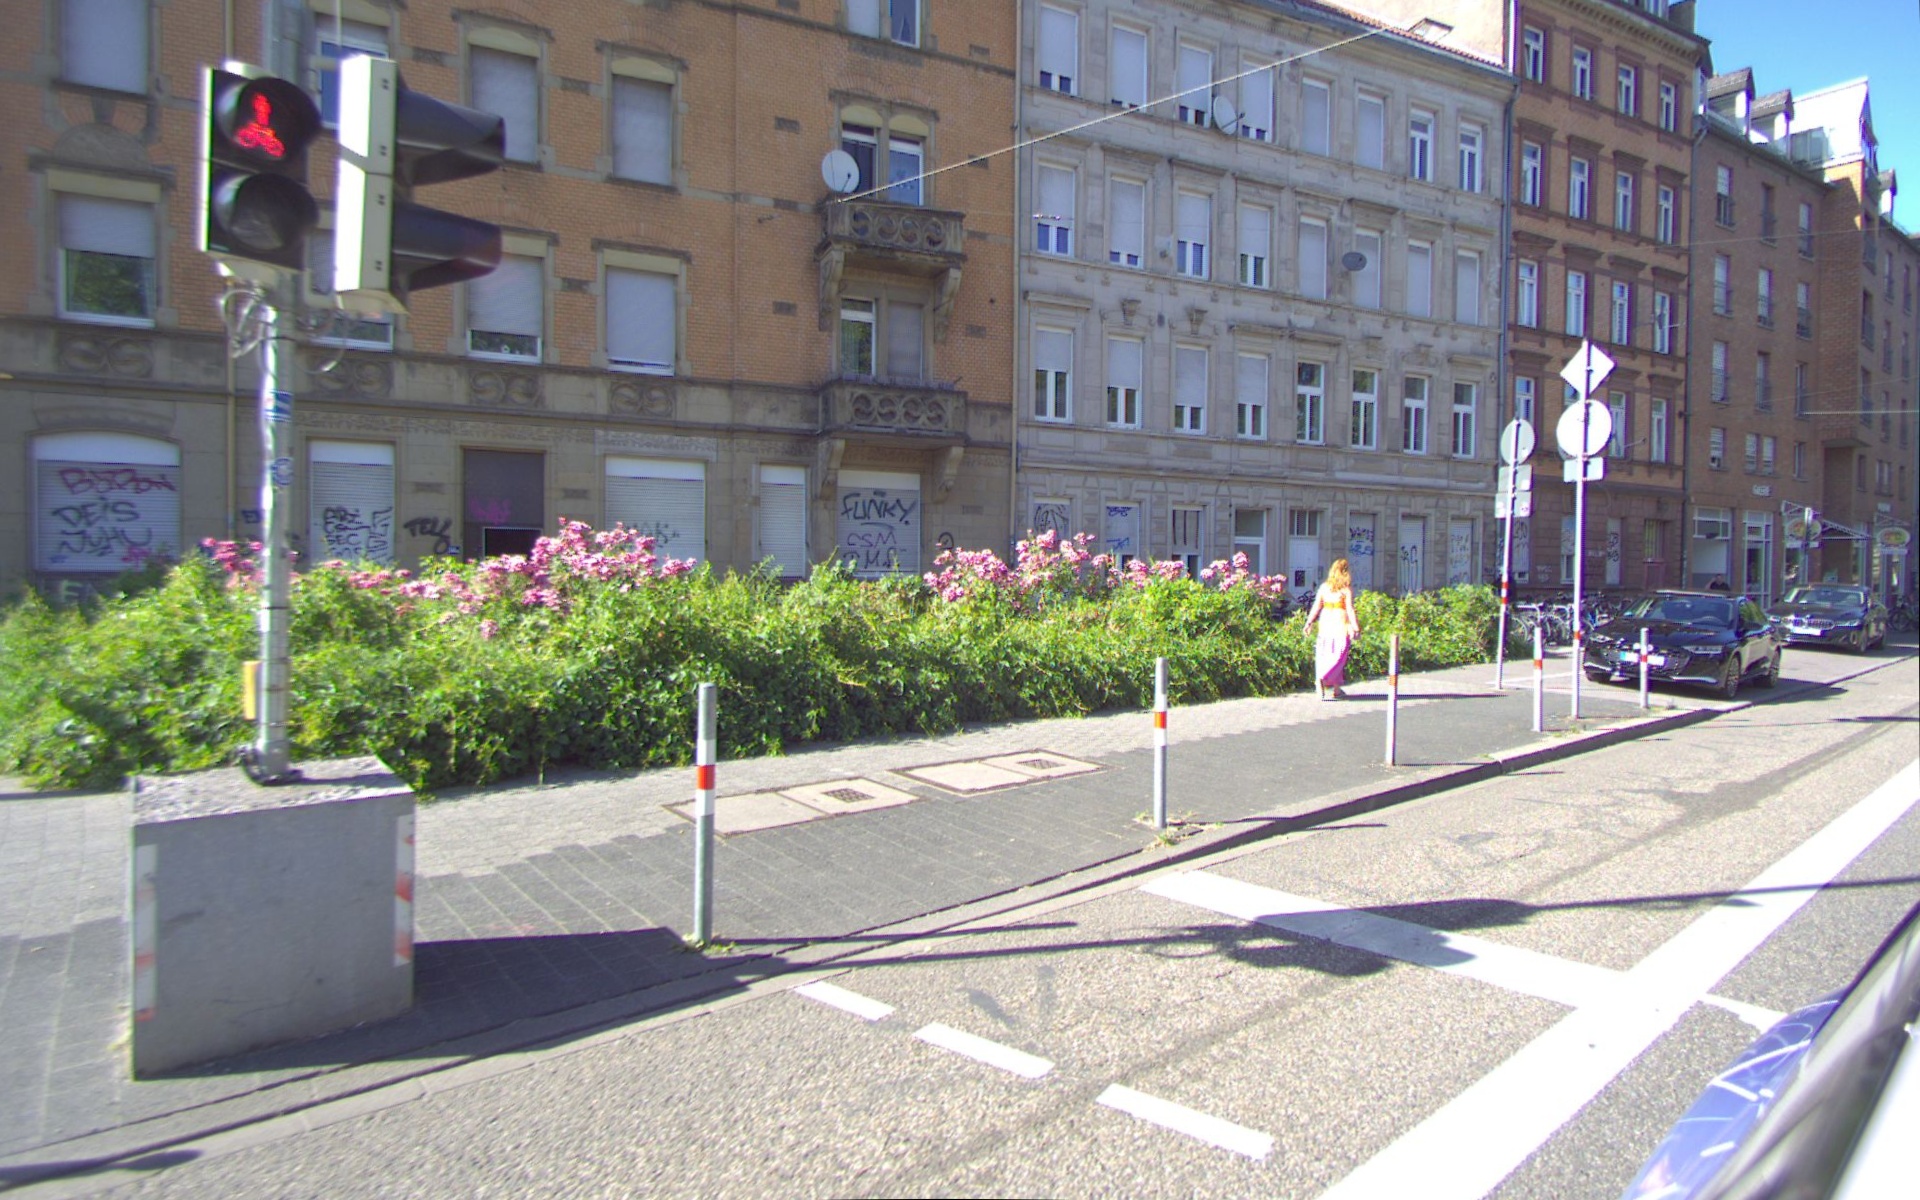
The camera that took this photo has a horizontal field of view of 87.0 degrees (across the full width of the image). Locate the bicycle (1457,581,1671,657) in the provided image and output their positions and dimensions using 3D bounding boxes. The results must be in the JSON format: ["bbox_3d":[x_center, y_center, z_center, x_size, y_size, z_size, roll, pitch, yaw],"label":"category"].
[{"bbox_3d":[13.416,0.301,22.239,6.706,1.433,1.968,-1,2,-40],"label":"bicycle"}]

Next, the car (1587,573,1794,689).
[{"bbox_3d":[10.987,0.364,15.122,3.931,1.502,1.682,-1,2,-42],"label":"car"}]

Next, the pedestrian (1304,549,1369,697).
[{"bbox_3d":[4.494,0.256,12.064,0.548,1.697,0.679,1,1,37],"label":"pedestrian"}]

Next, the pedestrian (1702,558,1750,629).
[{"bbox_3d":[22.723,-0.203,30.004,1.345,2.038,0.844,-1,1,-40],"label":"pedestrian"}]

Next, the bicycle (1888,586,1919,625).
[{"bbox_3d":[29.817,0.187,30.951,0.828,1.151,1.924,0,3,-28],"label":"bicycle"}]

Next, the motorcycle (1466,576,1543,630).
[{"bbox_3d":[13.891,0.058,25.833,1.622,1.332,0.708,1,1,37],"label":"motorcycle"}]

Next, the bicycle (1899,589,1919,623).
[{"bbox_3d":[31.055,0.208,32.054,0.642,1.072,1.806,0,2,-31],"label":"bicycle"}]

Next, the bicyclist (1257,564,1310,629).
[{"bbox_3d":[6.630,-0.083,20.723,0.847,1.302,0.693,-1,1,-41],"label":"bicyclist"}]

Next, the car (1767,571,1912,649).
[{"bbox_3d":[20.820,0.178,23.902,4.393,1.543,1.766,-1,6,-39],"label":"car"}]

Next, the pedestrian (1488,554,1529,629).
[{"bbox_3d":[13.964,-0.228,25.776,0.817,1.885,0.695,1,1,37],"label":"pedestrian"}]

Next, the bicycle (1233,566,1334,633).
[{"bbox_3d":[6.614,-0.040,20.635,2.198,1.302,0.956,-1,2,-40],"label":"bicycle"}]
